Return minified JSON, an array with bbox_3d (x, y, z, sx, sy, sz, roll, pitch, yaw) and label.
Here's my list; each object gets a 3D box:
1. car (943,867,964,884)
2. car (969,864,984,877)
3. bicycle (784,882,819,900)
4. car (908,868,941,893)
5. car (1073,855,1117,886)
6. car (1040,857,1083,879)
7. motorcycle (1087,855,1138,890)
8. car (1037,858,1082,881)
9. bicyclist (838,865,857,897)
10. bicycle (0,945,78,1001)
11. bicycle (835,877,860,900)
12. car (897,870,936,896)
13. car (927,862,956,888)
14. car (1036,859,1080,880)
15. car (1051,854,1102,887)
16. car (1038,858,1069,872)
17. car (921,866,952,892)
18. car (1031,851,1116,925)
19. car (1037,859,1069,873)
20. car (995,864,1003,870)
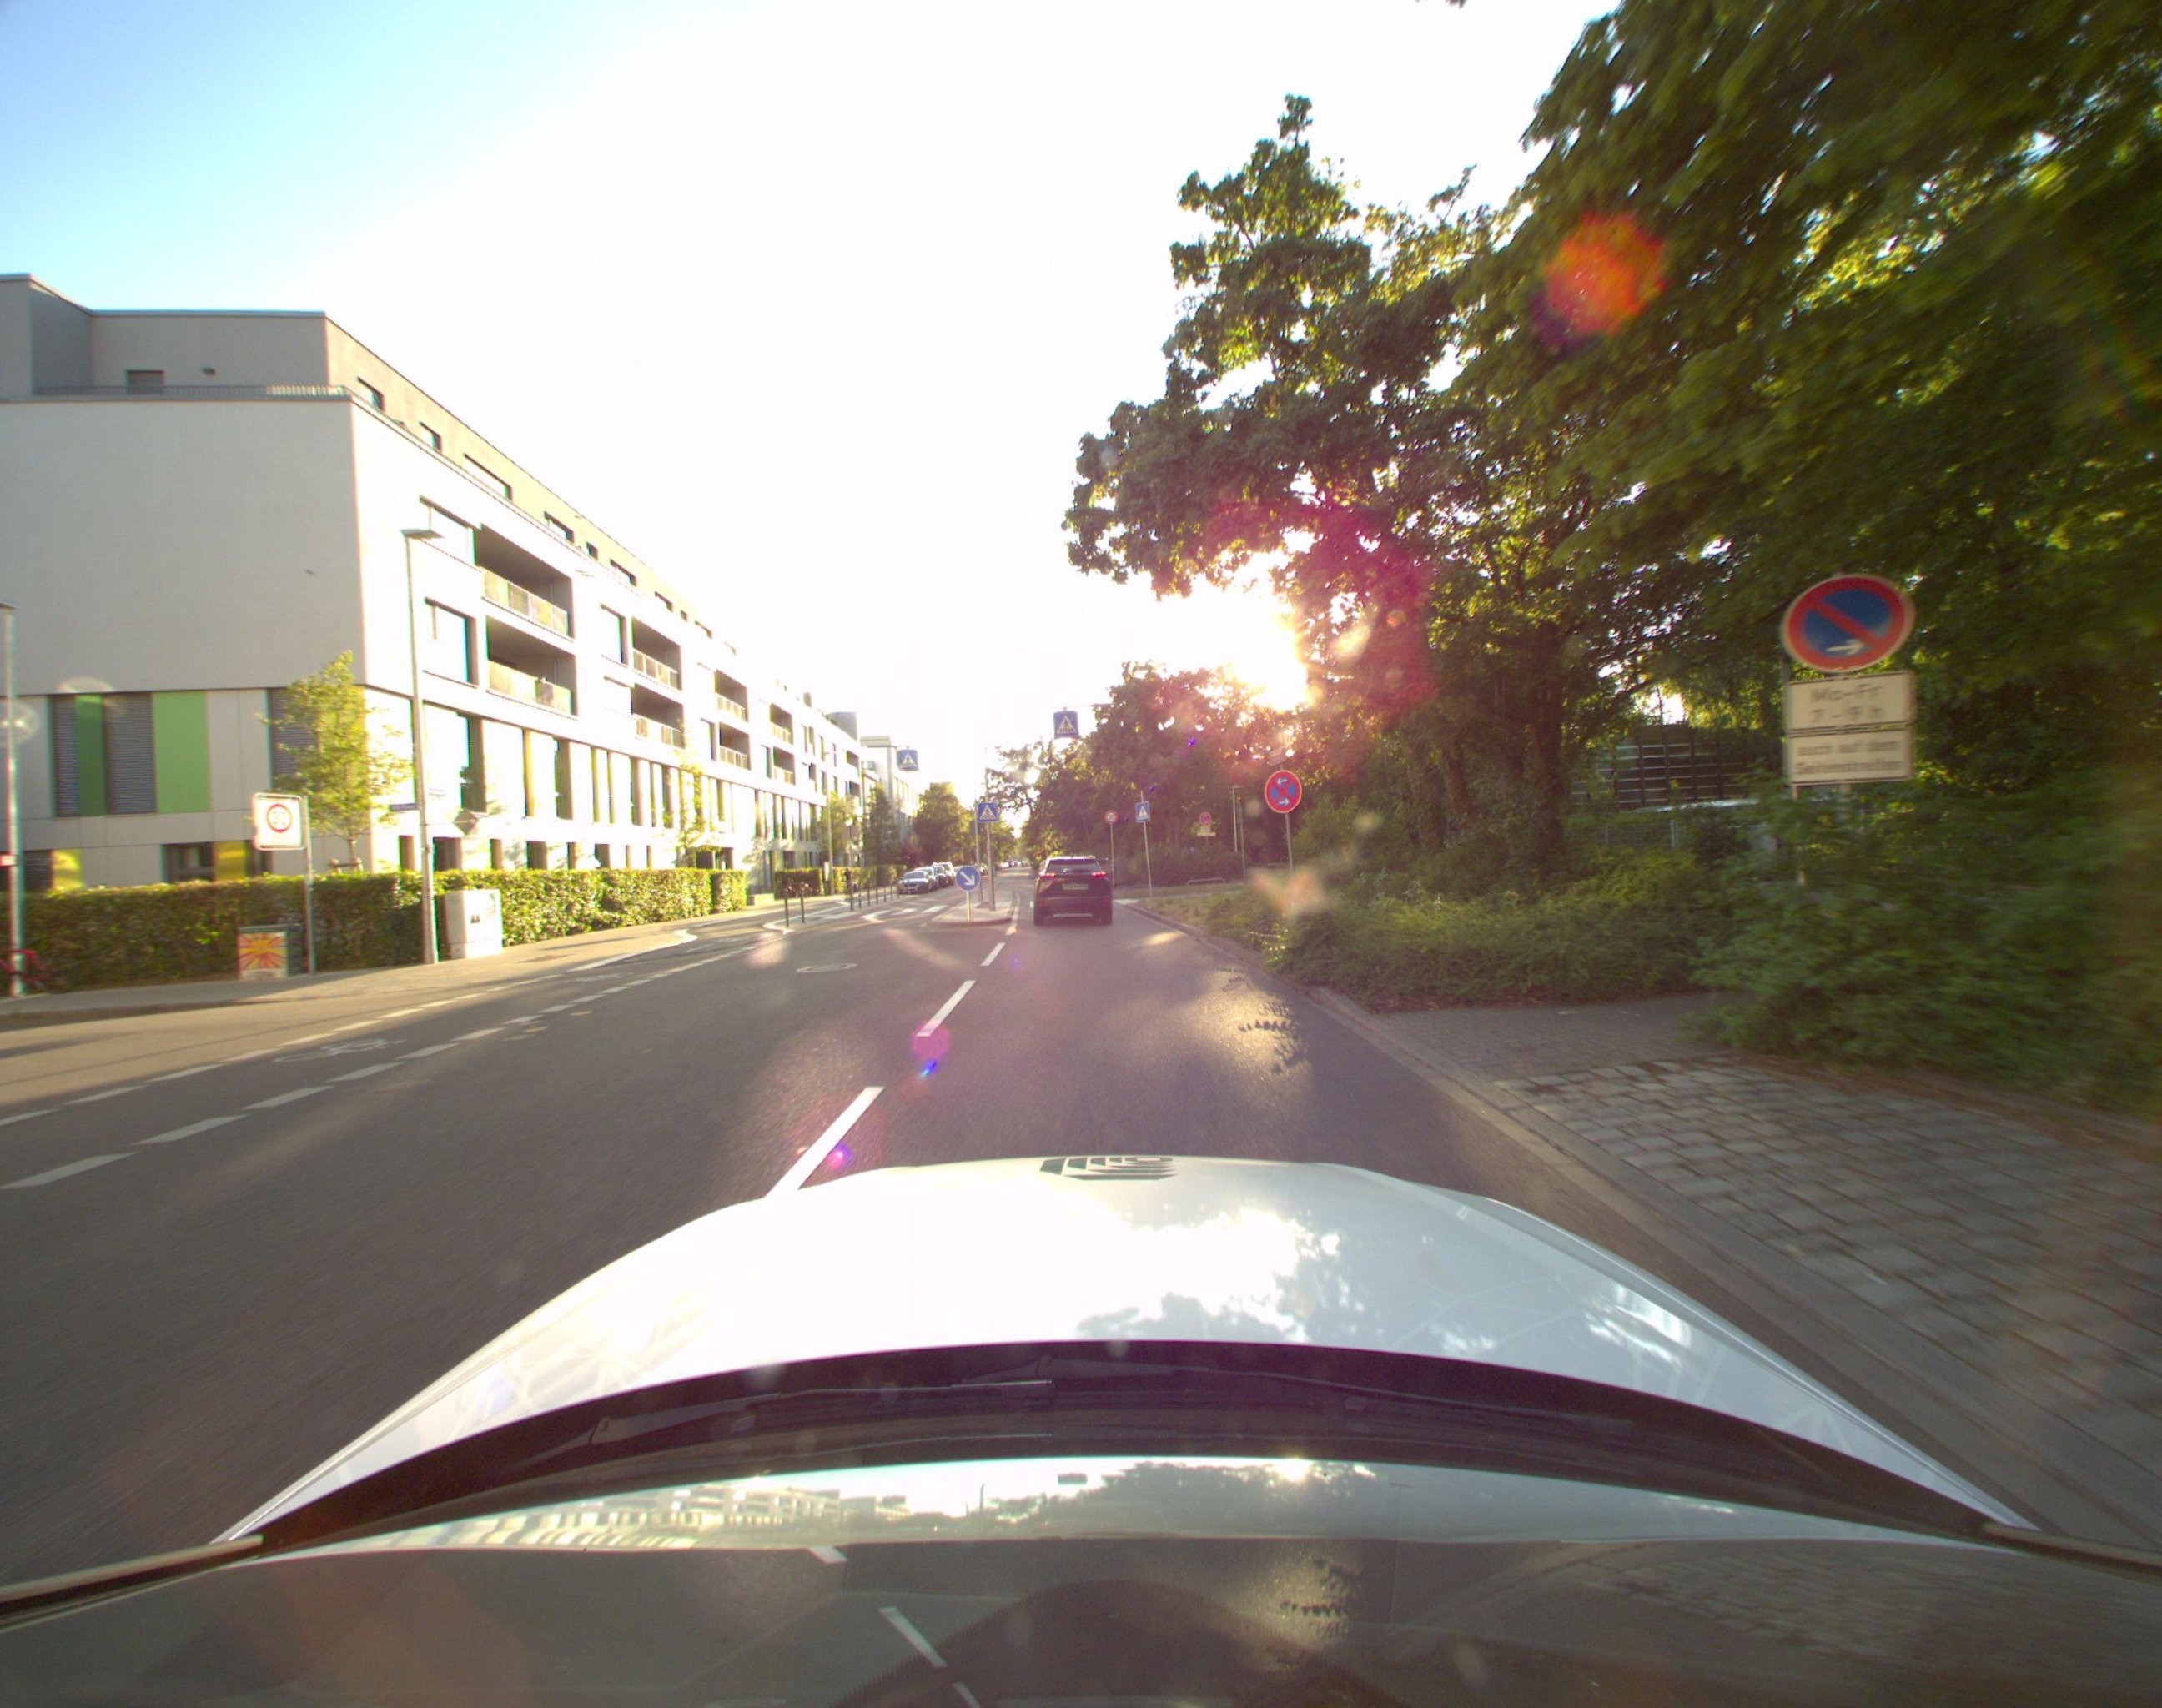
[{"bbox_3d":[-11.925,2.005,76.057,1.596,1.455,3.854,-3,0,-5],"label":"car"},{"bbox_3d":[-13.951,2.225,109.003,1.667,1.493,4.056,-4,0,-3],"label":"car"},{"bbox_3d":[-15.792,2.078,46.111,1.749,0.918,0.616,-2,-1,-6],"label":"bicycle"},{"bbox_3d":[-10.608,1.770,55.336,1.740,1.533,4.107,-4,0,-6],"label":"car"},{"bbox_3d":[0.685,0.897,43.703,1.620,1.486,3.406,-4,0,-11],"label":"car"},{"bbox_3d":[-1.791,1.284,74.912,3.662,1.552,1.731,-6,0,-6],"label":"car"},{"bbox_3d":[1.542,0.889,39.423,2.280,1.545,1.041,-4,-1,7],"label":"motorcycle"},{"bbox_3d":[-1.878,1.320,69.836,3.606,1.525,1.668,-6,0,-6],"label":"car"},{"bbox_3d":[-12.468,1.434,43.498,0.624,1.644,0.758,-3,-1,3],"label":"bicyclist"},{"bbox_3d":[-19.192,2.161,14.603,1.595,0.892,0.511,-3,0,-6],"label":"bicycle"},{"bbox_3d":[-12.450,1.833,43.463,0.631,1.078,1.885,-3,0,4],"label":"bicycle"},{"bbox_3d":[-10.087,1.753,50.201,1.739,1.356,4.390,-4,0,-4],"label":"car"},{"bbox_3d":[-11.313,1.683,66.291,1.805,1.889,4.230,-4,0,-5],"label":"car"},{"bbox_3d":[-2.046,1.363,72.206,3.662,1.444,1.731,-6,0,-6],"label":"car"},{"bbox_3d":[-0.334,0.988,48.100,1.924,1.748,4.645,-4,0,-13],"label":"car"},{"bbox_3d":[-3.861,1.510,113.698,4.157,1.710,1.867,-3,0,0],"label":"car"},{"bbox_3d":[-10.824,1.841,61.219,1.739,1.676,4.408,-4,0,-5],"label":"car"},{"bbox_3d":[-0.263,0.746,19.197,1.765,1.568,3.374,-1,0,-5],"label":"car"},{"bbox_3d":[-3.724,1.581,108.962,4.115,1.667,1.720,-3,0,-4],"label":"car"},{"bbox_3d":[-19.866,3.133,197.614,1.810,1.354,3.987,-4,0,-9],"label":"car"}]
